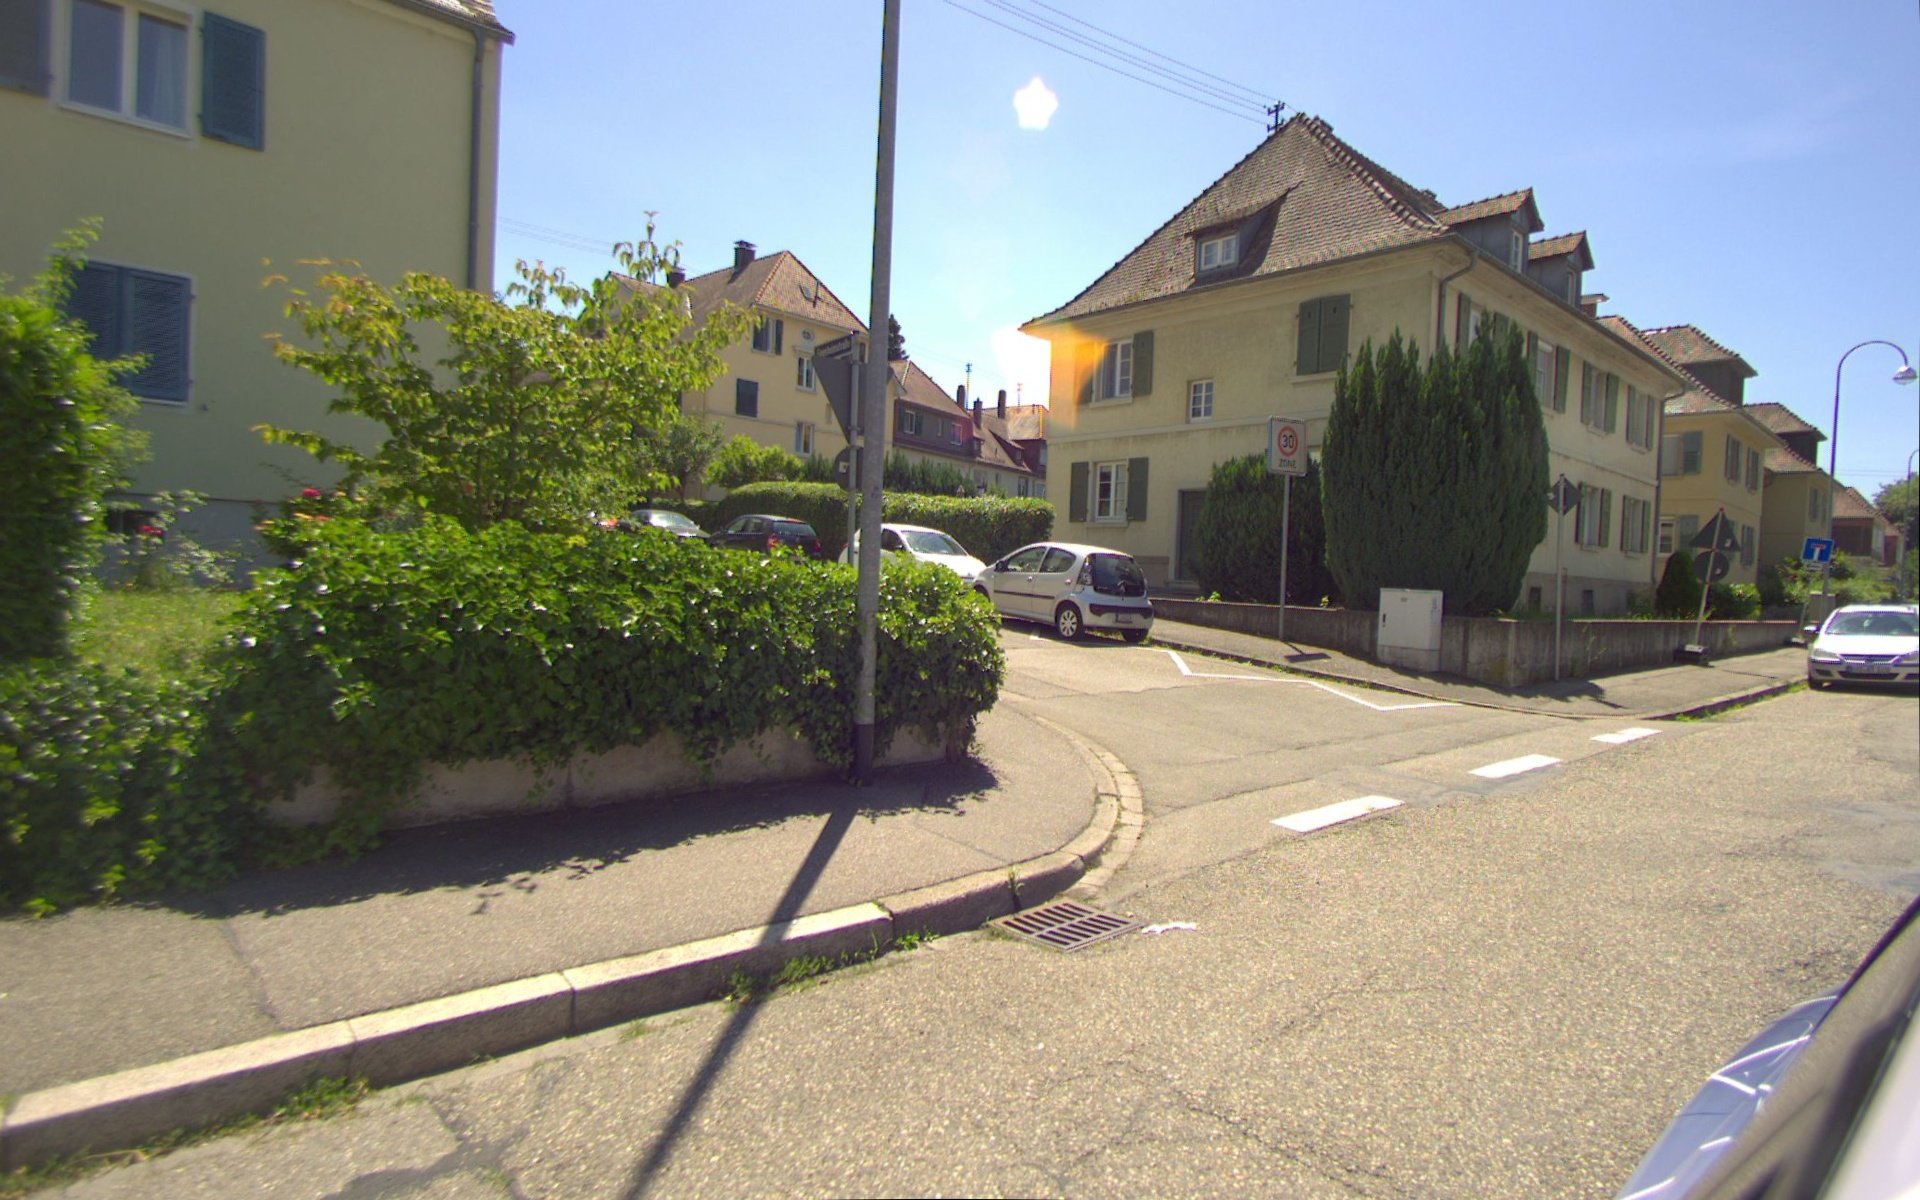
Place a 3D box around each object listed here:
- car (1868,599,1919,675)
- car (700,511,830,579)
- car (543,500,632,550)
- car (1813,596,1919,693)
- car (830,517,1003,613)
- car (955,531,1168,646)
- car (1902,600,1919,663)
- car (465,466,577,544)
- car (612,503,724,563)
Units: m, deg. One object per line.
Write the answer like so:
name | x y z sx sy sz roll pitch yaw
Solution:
car | 19.791 0.718 20.592 3.933 1.453 1.668 0 0 -44
car | -4.978 -1.428 25.516 1.667 1.470 3.839 1 4 -37
car | -12.773 -2.556 34.565 1.767 1.528 4.000 1 3 -37
car | 16.202 0.690 17.634 3.934 1.484 1.668 -1 1 -44
car | -0.926 -0.725 19.684 1.582 1.469 3.517 1 6 -37
car | 1.586 -0.251 16.809 1.582 1.469 3.421 1 6 -35
car | 23.731 0.738 24.190 3.934 1.448 1.597 1 0 -44
car | -16.922 -3.665 38.883 4.865 2.728 2.129 7 4 43
car | -8.643 -2.002 29.774 1.767 1.528 4.001 1 5 -38
